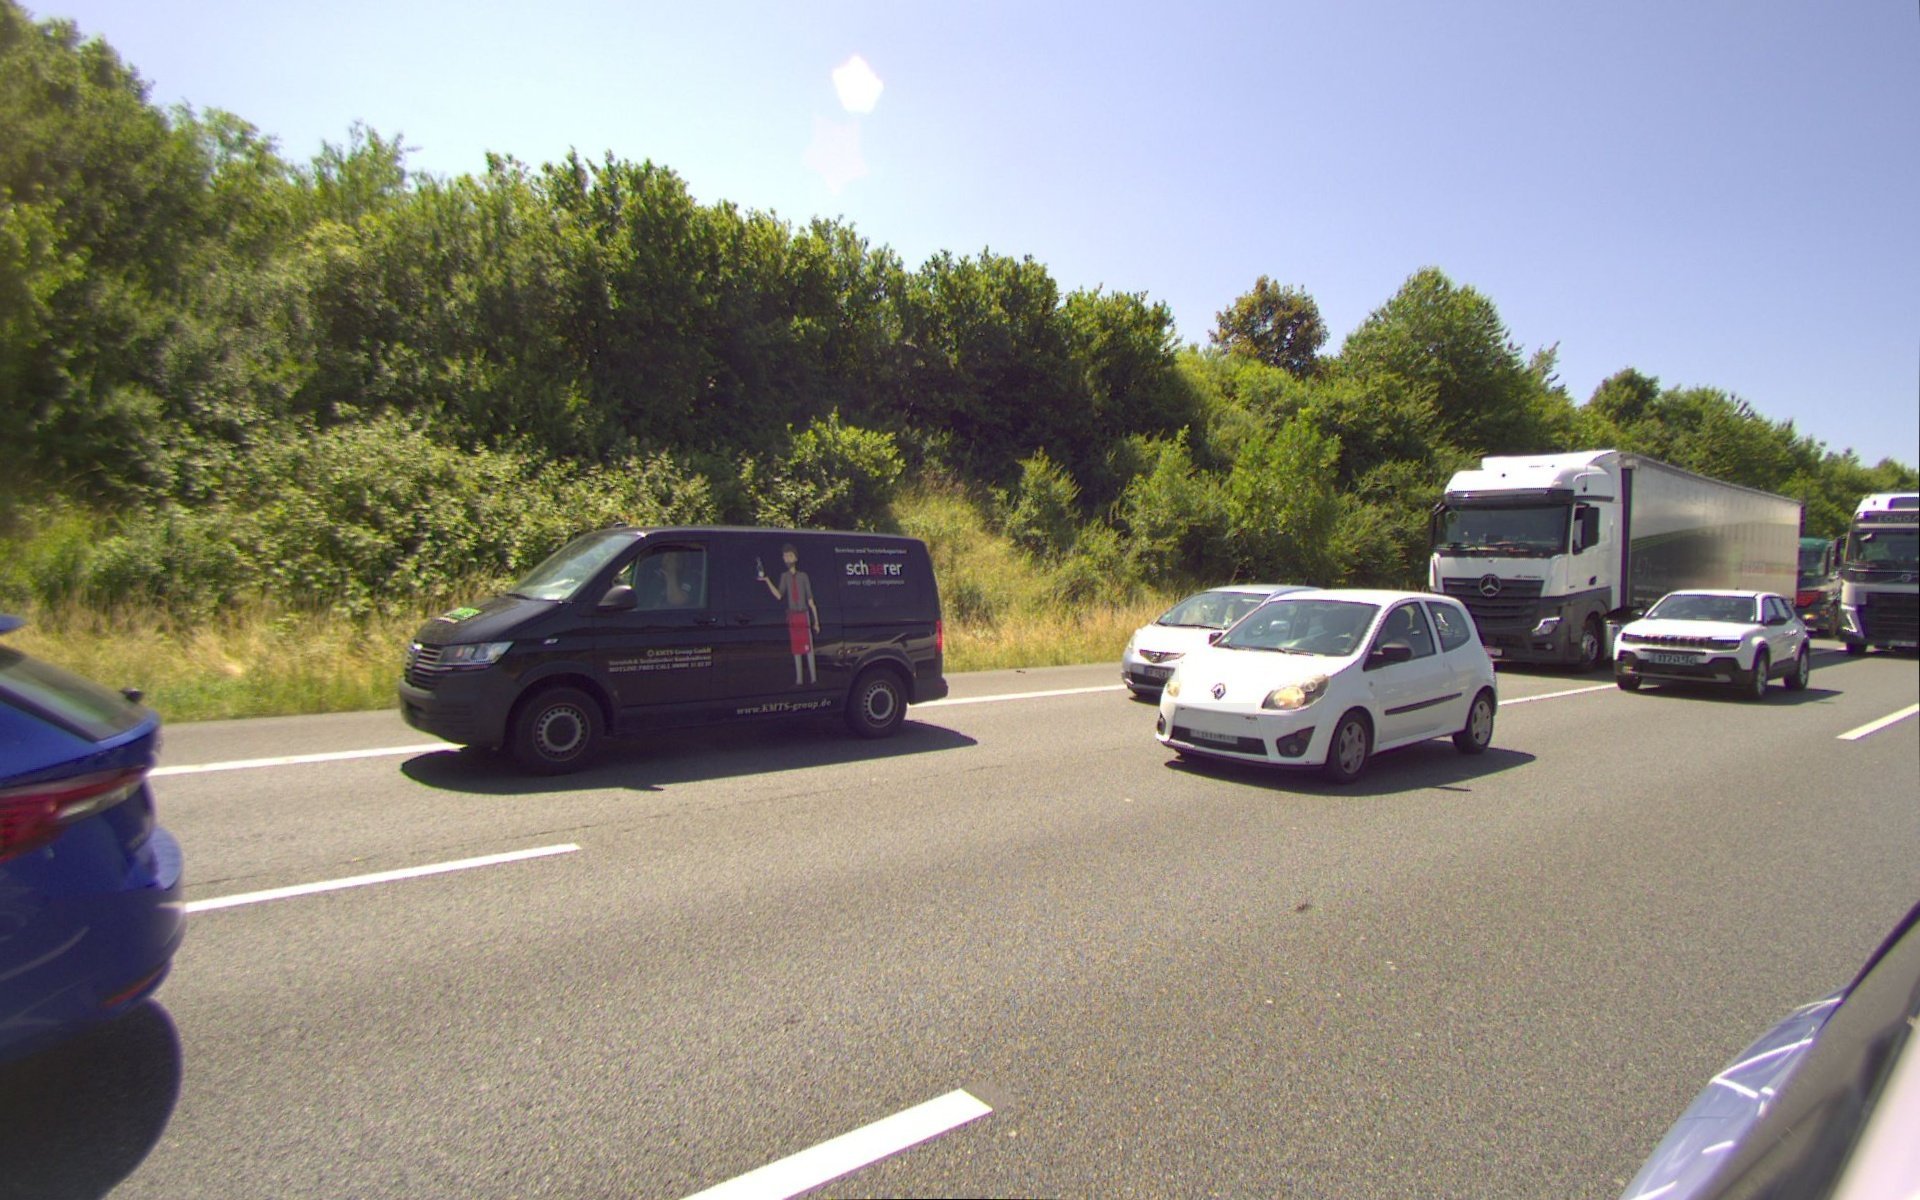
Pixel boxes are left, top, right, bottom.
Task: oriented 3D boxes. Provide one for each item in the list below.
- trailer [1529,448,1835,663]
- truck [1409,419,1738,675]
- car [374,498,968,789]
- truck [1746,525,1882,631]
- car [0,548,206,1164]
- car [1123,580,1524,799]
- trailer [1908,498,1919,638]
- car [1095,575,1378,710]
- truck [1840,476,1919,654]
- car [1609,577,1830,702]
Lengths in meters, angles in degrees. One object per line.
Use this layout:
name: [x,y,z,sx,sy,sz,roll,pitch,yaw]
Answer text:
trailer: [17.990,-0.976,24.680,11.856,4.208,2.880,-1,2,-38]
truck: [12.568,-0.952,20.347,8.321,4.208,2.880,-1,2,-38]
car: [-2.373,0.218,9.081,4.769,1.964,1.918,-1,3,-39]
truck: [28.081,-0.729,33.228,5.572,3.185,2.300,-1,2,-38]
car: [-4.227,0.614,1.810,4.494,1.433,1.780,-2,4,-42]
car: [3.297,0.590,8.887,3.742,1.451,1.609,-1,4,-40]
trailer: [31.715,-0.933,30.822,8.989,4.023,2.777,-1,2,-38]
car: [3.729,0.457,13.356,3.852,1.479,1.666,-1,3,-40]
truck: [25.042,-0.832,25.530,8.208,4.044,2.751,-1,2,-38]
car: [11.556,0.485,15.325,3.815,1.577,1.748,-1,4,-39]
